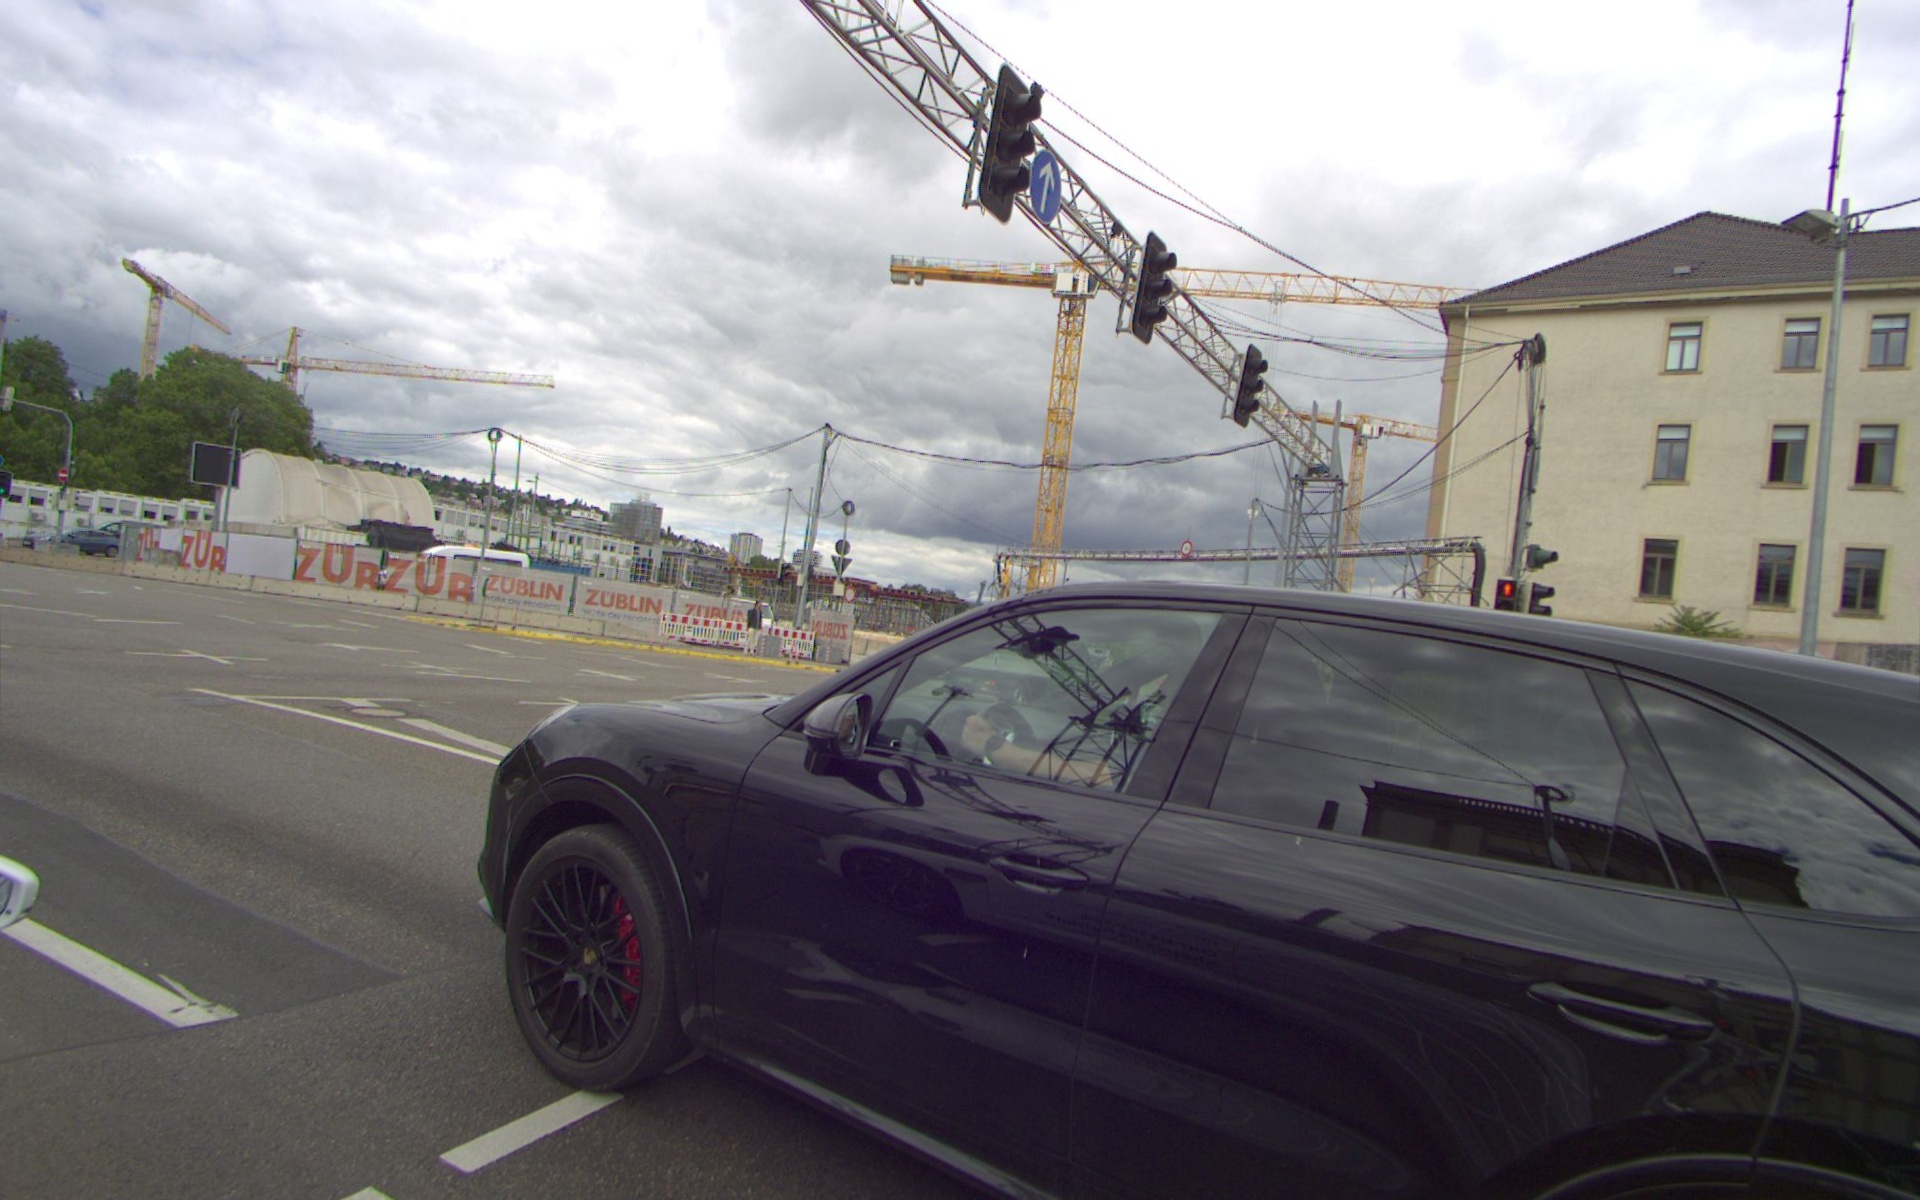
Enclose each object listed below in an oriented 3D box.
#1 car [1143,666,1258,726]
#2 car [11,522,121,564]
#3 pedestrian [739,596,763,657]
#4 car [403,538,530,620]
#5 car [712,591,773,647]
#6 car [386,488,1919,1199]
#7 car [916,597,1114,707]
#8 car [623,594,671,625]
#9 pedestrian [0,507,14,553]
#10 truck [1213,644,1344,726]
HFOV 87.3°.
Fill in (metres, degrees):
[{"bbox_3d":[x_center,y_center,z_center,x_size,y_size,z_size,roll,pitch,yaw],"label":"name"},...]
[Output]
[{"bbox_3d":[8.202,3.271,34.032,1.989,1.644,4.810,6,-2,36],"label":"car"},{"bbox_3d":[-48.164,-3.041,54.284,1.788,1.644,4.003,6,-2,16],"label":"car"},{"bbox_3d":[-7.195,0.912,34.651,0.579,2.000,0.433,7,-1,-14],"label":"pedestrian"},{"bbox_3d":[-19.418,-0.809,39.646,3.973,2.693,1.662,8,-1,-42],"label":"car"},{"bbox_3d":[-8.904,0.742,41.017,1.754,1.977,3.111,7,-1,-22],"label":"car"},{"bbox_3d":[0.403,0.729,3.003,4.414,1.735,1.826,6,-1,35],"label":"car"},{"bbox_3d":[1.580,1.432,25.976,2.267,2.332,5.764,6,-2,34],"label":"car"},{"bbox_3d":[-19.630,0.568,62.987,1.666,1.546,3.964,7,-2,-34],"label":"car"},{"bbox_3d":[-44.006,-3.239,45.630,1.163,2.038,1.098,6,-1,23],"label":"pedestrian"},{"bbox_3d":[13.746,3.726,42.821,2.585,2.836,8.991,7,-2,34],"label":"truck"}]
